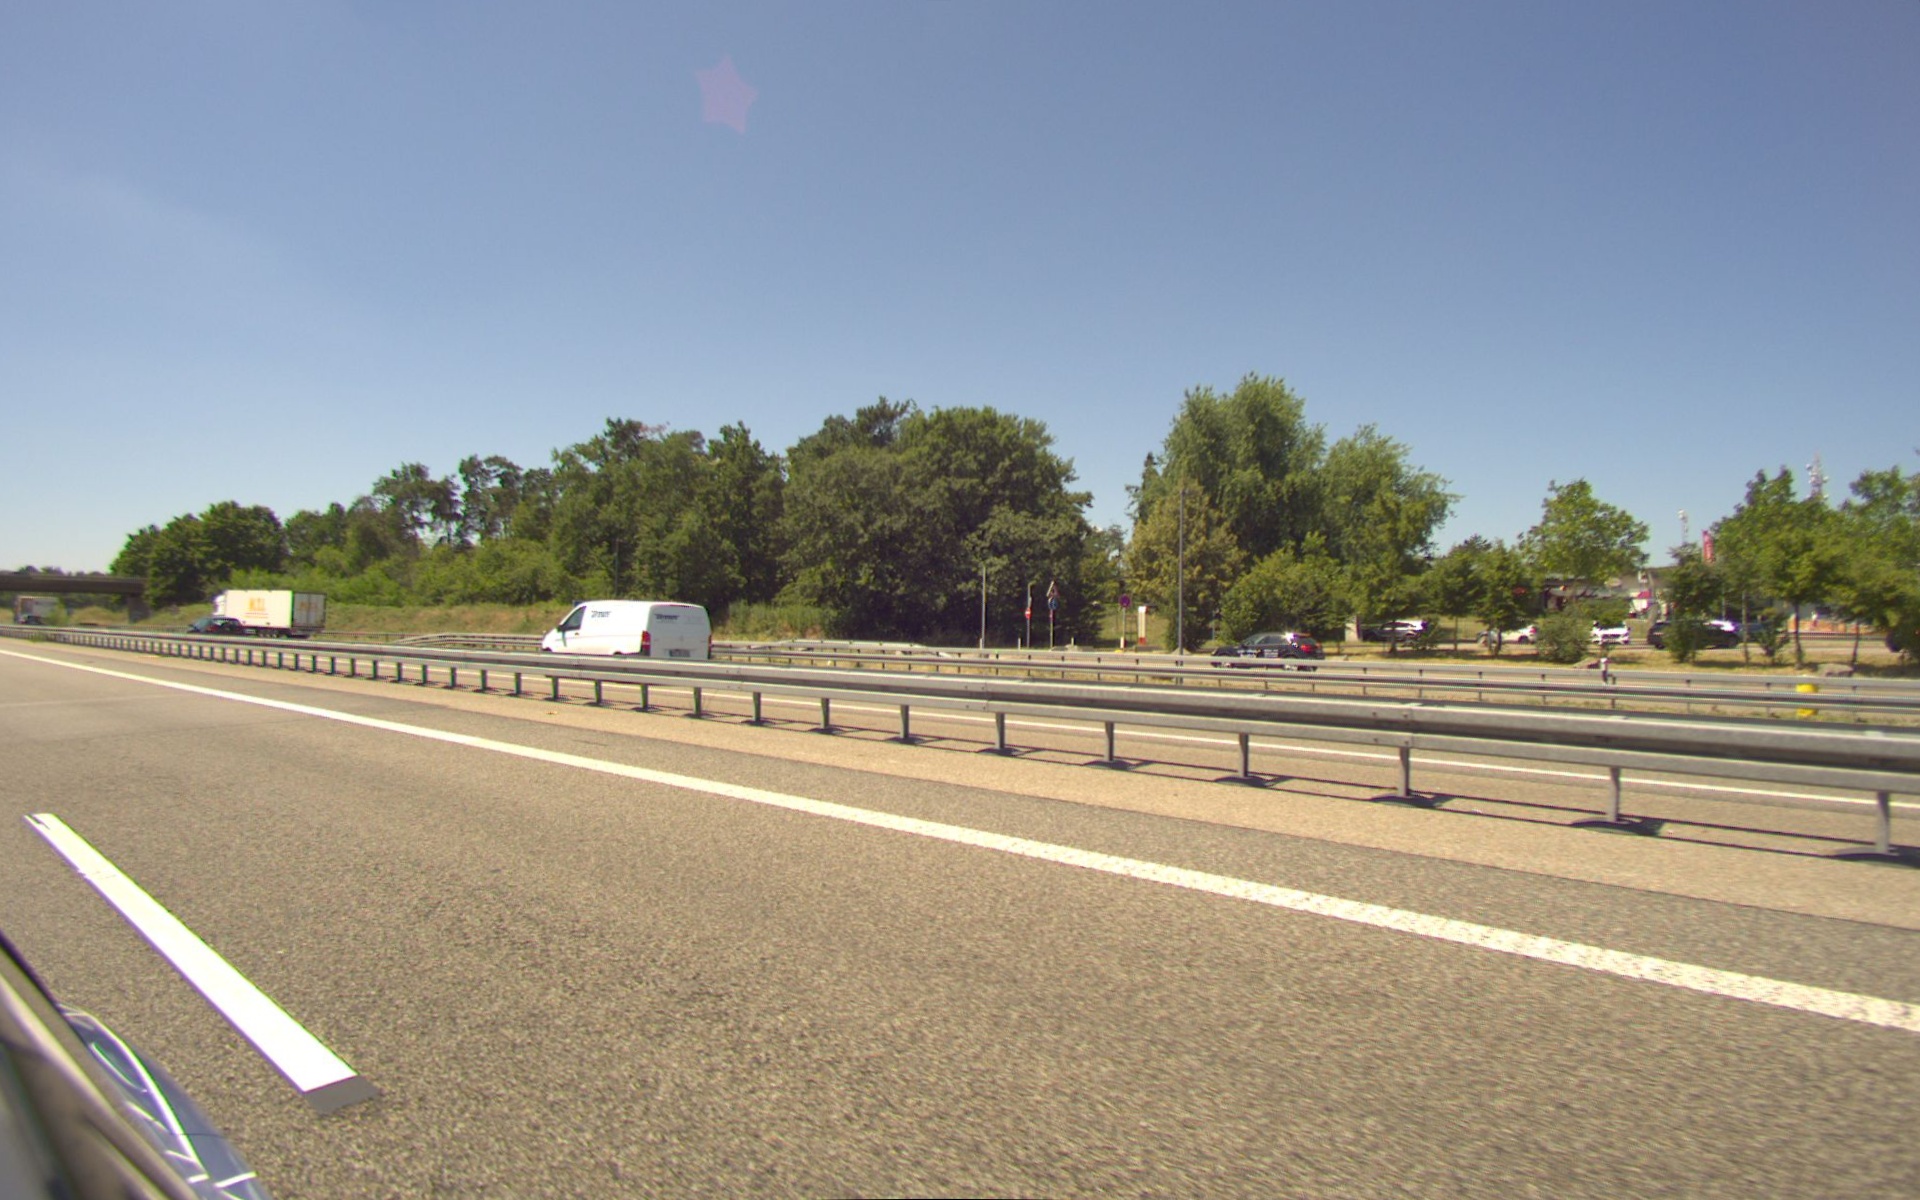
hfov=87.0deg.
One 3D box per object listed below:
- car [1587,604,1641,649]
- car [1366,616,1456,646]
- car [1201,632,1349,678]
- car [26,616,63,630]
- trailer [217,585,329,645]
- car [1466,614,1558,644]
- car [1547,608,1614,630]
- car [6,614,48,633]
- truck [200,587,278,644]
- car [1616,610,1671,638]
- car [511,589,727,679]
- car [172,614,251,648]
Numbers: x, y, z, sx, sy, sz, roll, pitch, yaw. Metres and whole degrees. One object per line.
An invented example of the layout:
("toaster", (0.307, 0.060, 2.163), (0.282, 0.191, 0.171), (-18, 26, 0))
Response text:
("car", (38.862, 1.502, 60.249), (2.469, 2.518, 6.139), (-1, 0, 31))
("car", (31.522, 2.140, 70.873), (2.438, 2.006, 5.255), (-1, 0, -38))
("car", (11.648, 2.025, 37.625), (4.887, 1.563, 2.031), (-1, -4, 41))
("car", (-96.619, 2.394, 106.806), (4.887, 1.390, 2.205), (-1, -4, 41))
("trailer", (-59.868, 1.367, 87.980), (13.731, 4.865, 3.045), (-1, -5, 35))
("car", (39.611, 2.032, 72.750), (2.438, 2.006, 5.255), (-1, 0, -38))
("car", (59.515, 1.834, 97.177), (5.220, 2.006, 2.454), (-1, 0, 28))
("car", (-80.259, 2.037, 86.996), (4.887, 1.563, 2.031), (-1, -4, 41))
("truck", (-65.488, 1.473, 91.877), (7.696, 4.865, 3.045), (-1, -5, 35))
("car", (53.572, 1.870, 79.282), (5.165, 2.006, 2.480), (-1, 0, -43))
("car", (-8.098, 0.759, 23.700), (5.939, 1.856, 2.031), (-1, -2, 41))
("car", (-36.758, 1.511, 49.672), (4.887, 1.563, 2.031), (-1, -4, 41))
